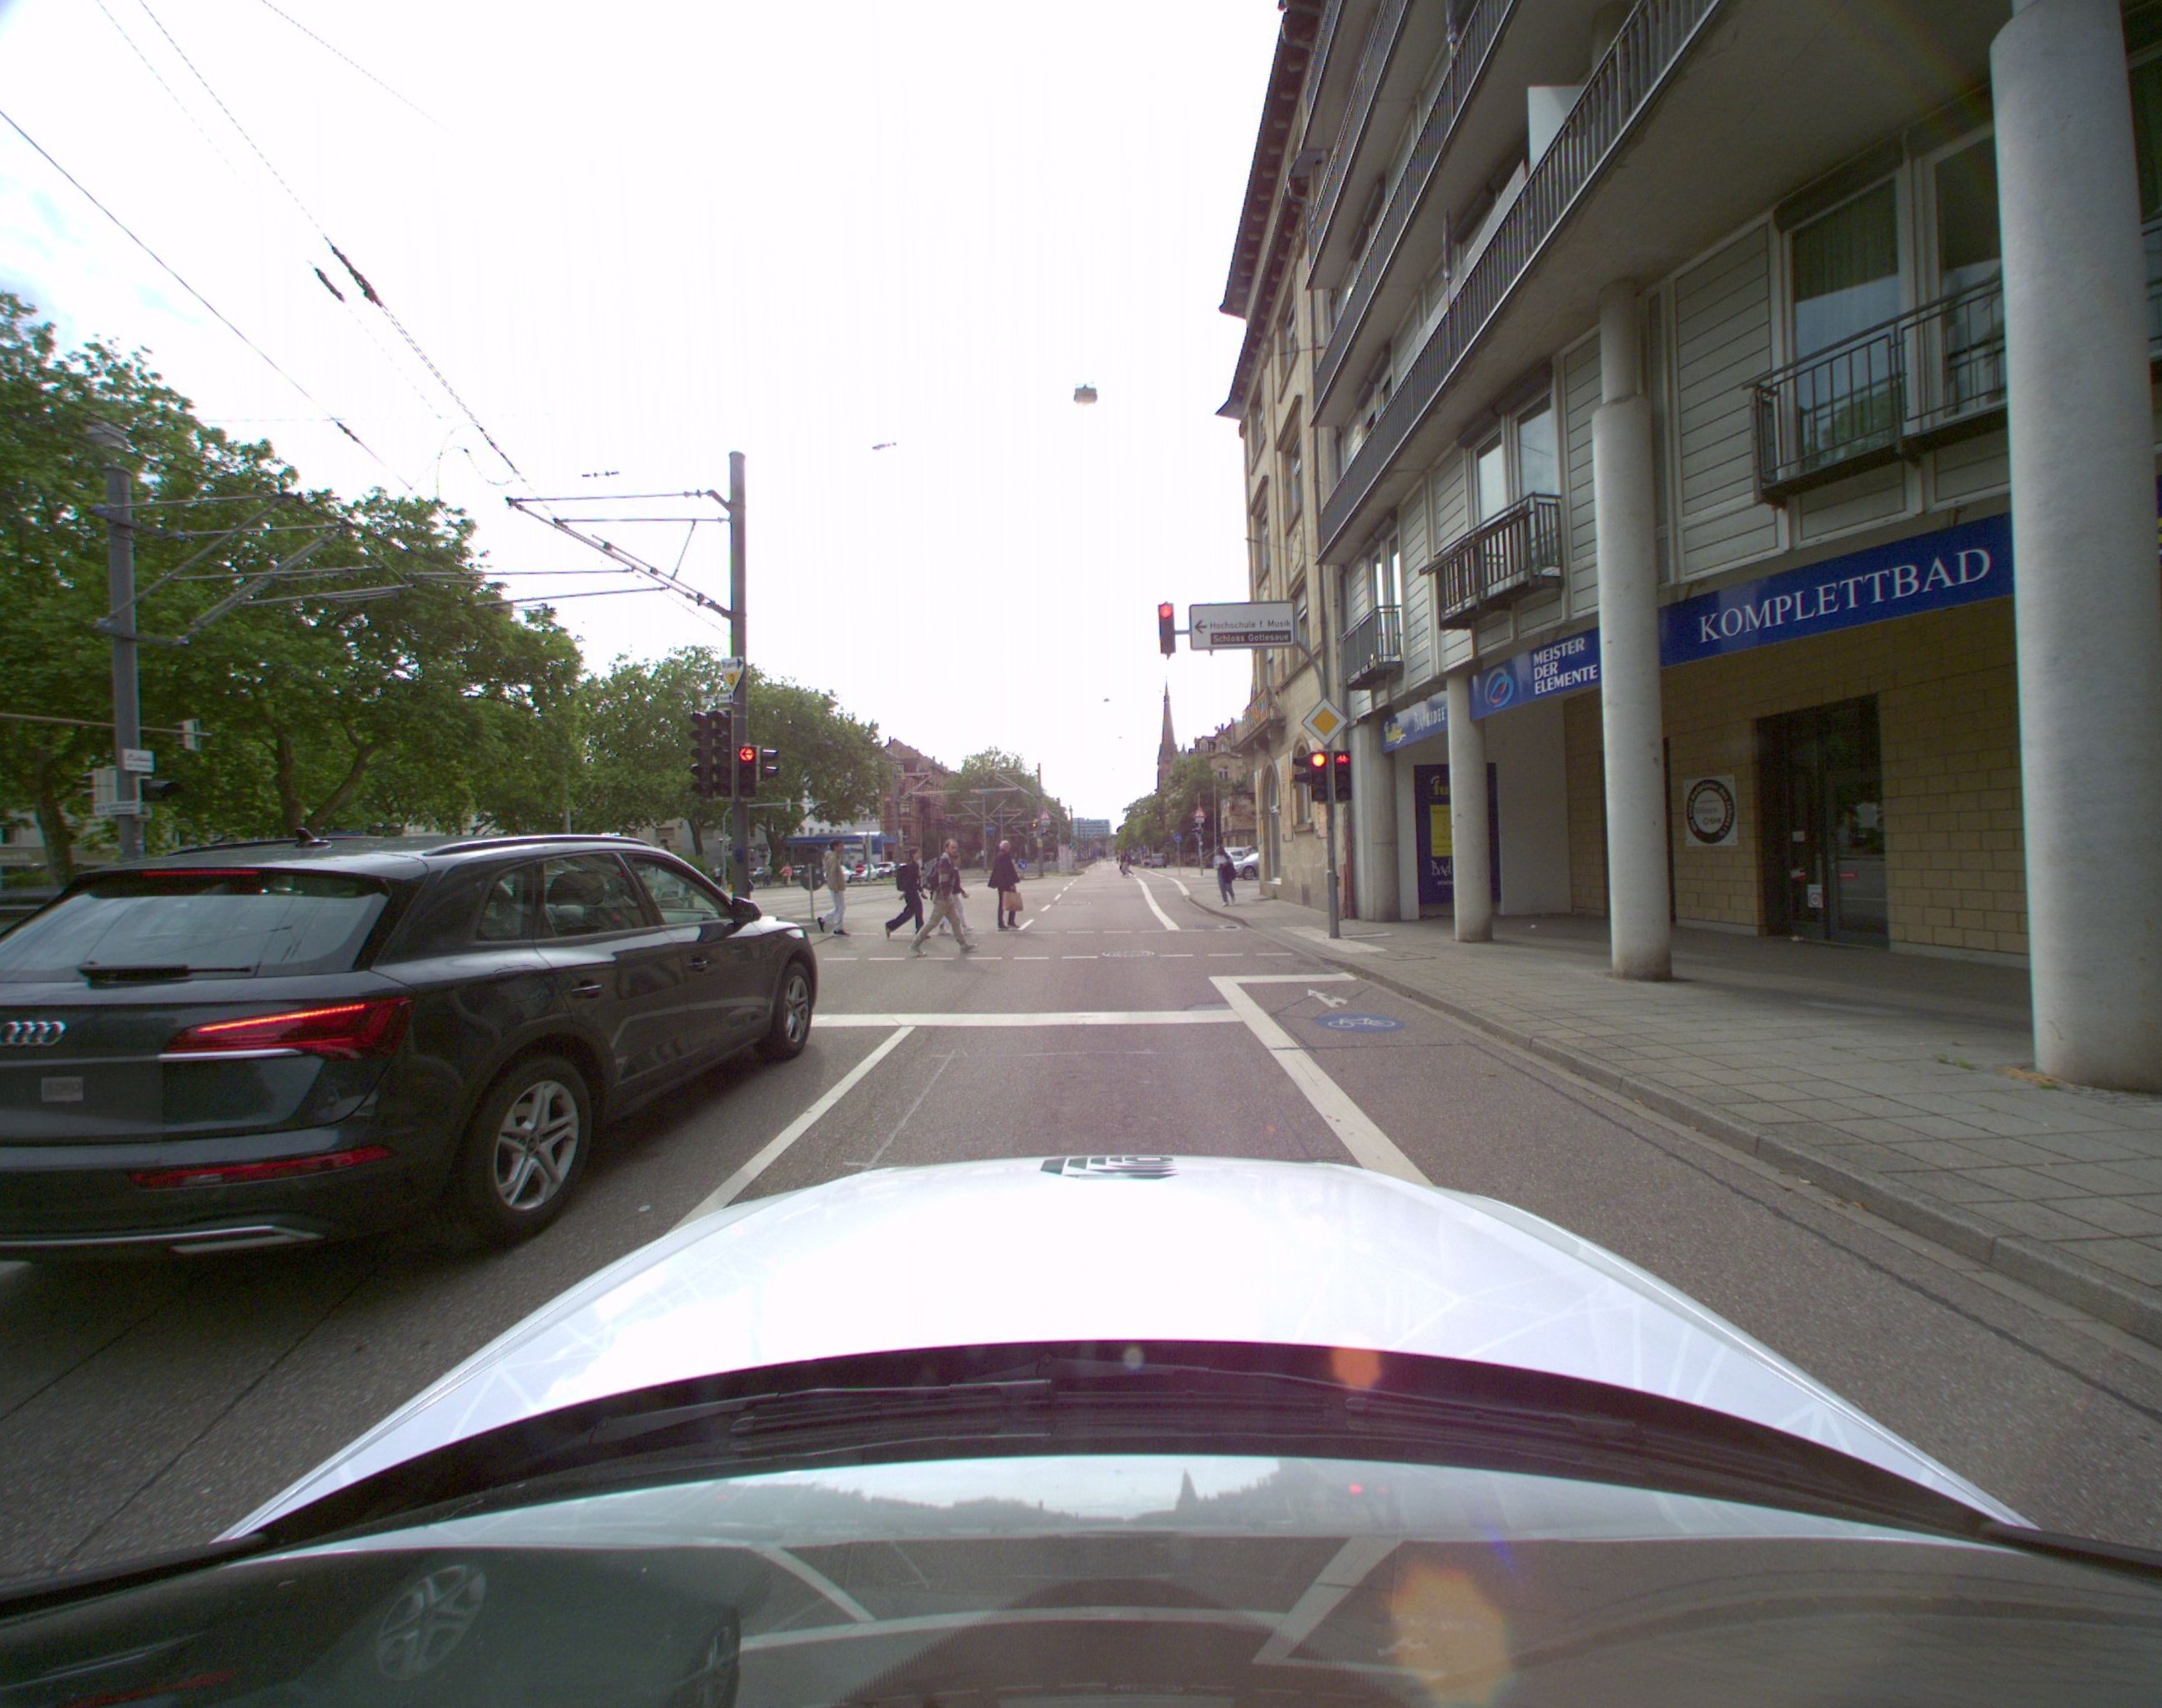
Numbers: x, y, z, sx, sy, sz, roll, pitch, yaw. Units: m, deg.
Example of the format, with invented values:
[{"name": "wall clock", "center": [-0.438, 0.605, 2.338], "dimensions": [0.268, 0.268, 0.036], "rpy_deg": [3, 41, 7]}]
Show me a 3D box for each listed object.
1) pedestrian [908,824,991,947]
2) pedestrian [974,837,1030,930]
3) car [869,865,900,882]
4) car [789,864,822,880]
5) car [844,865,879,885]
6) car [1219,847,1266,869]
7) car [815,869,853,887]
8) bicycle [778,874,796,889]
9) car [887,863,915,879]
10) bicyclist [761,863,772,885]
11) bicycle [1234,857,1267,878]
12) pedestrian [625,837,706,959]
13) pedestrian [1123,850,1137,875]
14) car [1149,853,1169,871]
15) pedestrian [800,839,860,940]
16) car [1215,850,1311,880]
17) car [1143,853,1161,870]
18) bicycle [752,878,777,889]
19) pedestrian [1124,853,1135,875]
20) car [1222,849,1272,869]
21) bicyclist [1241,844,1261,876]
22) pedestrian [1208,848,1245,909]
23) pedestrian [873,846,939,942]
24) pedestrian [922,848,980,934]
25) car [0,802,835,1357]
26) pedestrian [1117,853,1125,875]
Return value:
[{"name": "pedestrian", "center": [-1.992, 0.452, 12.278], "dimensions": [1.132, 1.778, 0.625], "rpy_deg": [-1, -1, -16]}, {"name": "pedestrian", "center": [-1.582, 0.575, 16.217], "dimensions": [0.906, 1.784, 0.651], "rpy_deg": [-1, -1, 39]}, {"name": "car", "center": [-18.385, 1.805, 76.333], "dimensions": [1.887, 1.557, 3.837], "rpy_deg": [0, 0, 2]}, {"name": "car", "center": [-28.643, 1.842, 84.741], "dimensions": [1.986, 1.530, 4.001], "rpy_deg": [0, 0, 2]}, {"name": "car", "center": [-18.705, 1.764, 69.501], "dimensions": [1.887, 1.557, 3.837], "rpy_deg": [0, 0, 2]}, {"name": "car", "center": [14.126, 0.362, 71.561], "dimensions": [3.785, 1.904, 2.001], "rpy_deg": [0, -1, 1]}, {"name": "car", "center": [-19.039, 1.819, 62.919], "dimensions": [1.628, 1.325, 4.001], "rpy_deg": [0, 0, 2]}, {"name": "bicycle", "center": [-21.337, 2.011, 59.061], "dimensions": [0.520, 1.017, 1.937], "rpy_deg": [0, 0, 2]}, {"name": "car", "center": [-18.357, 1.681, 83.167], "dimensions": [1.887, 1.557, 3.837], "rpy_deg": [0, 0, 2]}, {"name": "bicyclist", "center": [-22.656, 1.460, 58.690], "dimensions": [0.585, 1.567, 0.619], "rpy_deg": [0, -1, 1]}, {"name": "bicycle", "center": [9.701, 0.752, 46.538], "dimensions": [1.910, 1.142, 0.623], "rpy_deg": [0, -1, -28]}, {"name": "pedestrian", "center": [-5.818, 0.600, 11.444], "dimensions": [0.751, 1.661, 0.730], "rpy_deg": [0, -1, 1]}, {"name": "pedestrian", "center": [3.201, 0.541, 53.470], "dimensions": [0.848, 1.654, 0.508], "rpy_deg": [0, -1, -1]}, {"name": "car", "center": [8.976, 0.883, 93.613], "dimensions": [1.986, 2.014, 4.001], "rpy_deg": [0, 0, 1]}, {"name": "pedestrian", "center": [-4.623, 0.633, 15.010], "dimensions": [1.015, 1.813, 0.580], "rpy_deg": [0, -1, -22]}, {"name": "car", "center": [9.638, 0.560, 43.154], "dimensions": [4.734, 1.510, 1.826], "rpy_deg": [0, -1, -20]}, {"name": "car", "center": [8.923, 0.944, 103.054], "dimensions": [1.986, 2.014, 4.001], "rpy_deg": [0, 0, 1]}, {"name": "bicycle", "center": [-22.768, 2.137, 58.608], "dimensions": [1.665, 0.773, 0.659], "rpy_deg": [-1, -1, 22]}, {"name": "pedestrian", "center": [3.303, 0.678, 55.433], "dimensions": [0.651, 1.537, 0.465], "rpy_deg": [0, -1, -3]}, {"name": "car", "center": [13.856, 0.447, 68.153], "dimensions": [3.785, 1.601, 2.001], "rpy_deg": [0, -1, 1]}, {"name": "bicyclist", "center": [9.718, 0.318, 46.570], "dimensions": [0.970, 1.819, 0.527], "rpy_deg": [0, -1, -27]}, {"name": "pedestrian", "center": [4.047, 0.668, 22.639], "dimensions": [0.663, 1.680, 0.874], "rpy_deg": [-1, -1, 40]}, {"name": "pedestrian", "center": [-3.122, 0.688, 14.594], "dimensions": [0.620, 1.652, 1.003], "rpy_deg": [-1, -1, 32]}, {"name": "pedestrian", "center": [-2.480, 0.689, 15.599], "dimensions": [0.693, 1.593, 0.836], "rpy_deg": [-1, -1, 39]}, {"name": "car", "center": [-3.025, 0.677, 4.566], "dimensions": [1.873, 1.601, 4.358], "rpy_deg": [-1, 0, 1]}, {"name": "pedestrian", "center": [2.737, 0.675, 55.923], "dimensions": [0.544, 1.537, 0.465], "rpy_deg": [0, -1, -3]}]
